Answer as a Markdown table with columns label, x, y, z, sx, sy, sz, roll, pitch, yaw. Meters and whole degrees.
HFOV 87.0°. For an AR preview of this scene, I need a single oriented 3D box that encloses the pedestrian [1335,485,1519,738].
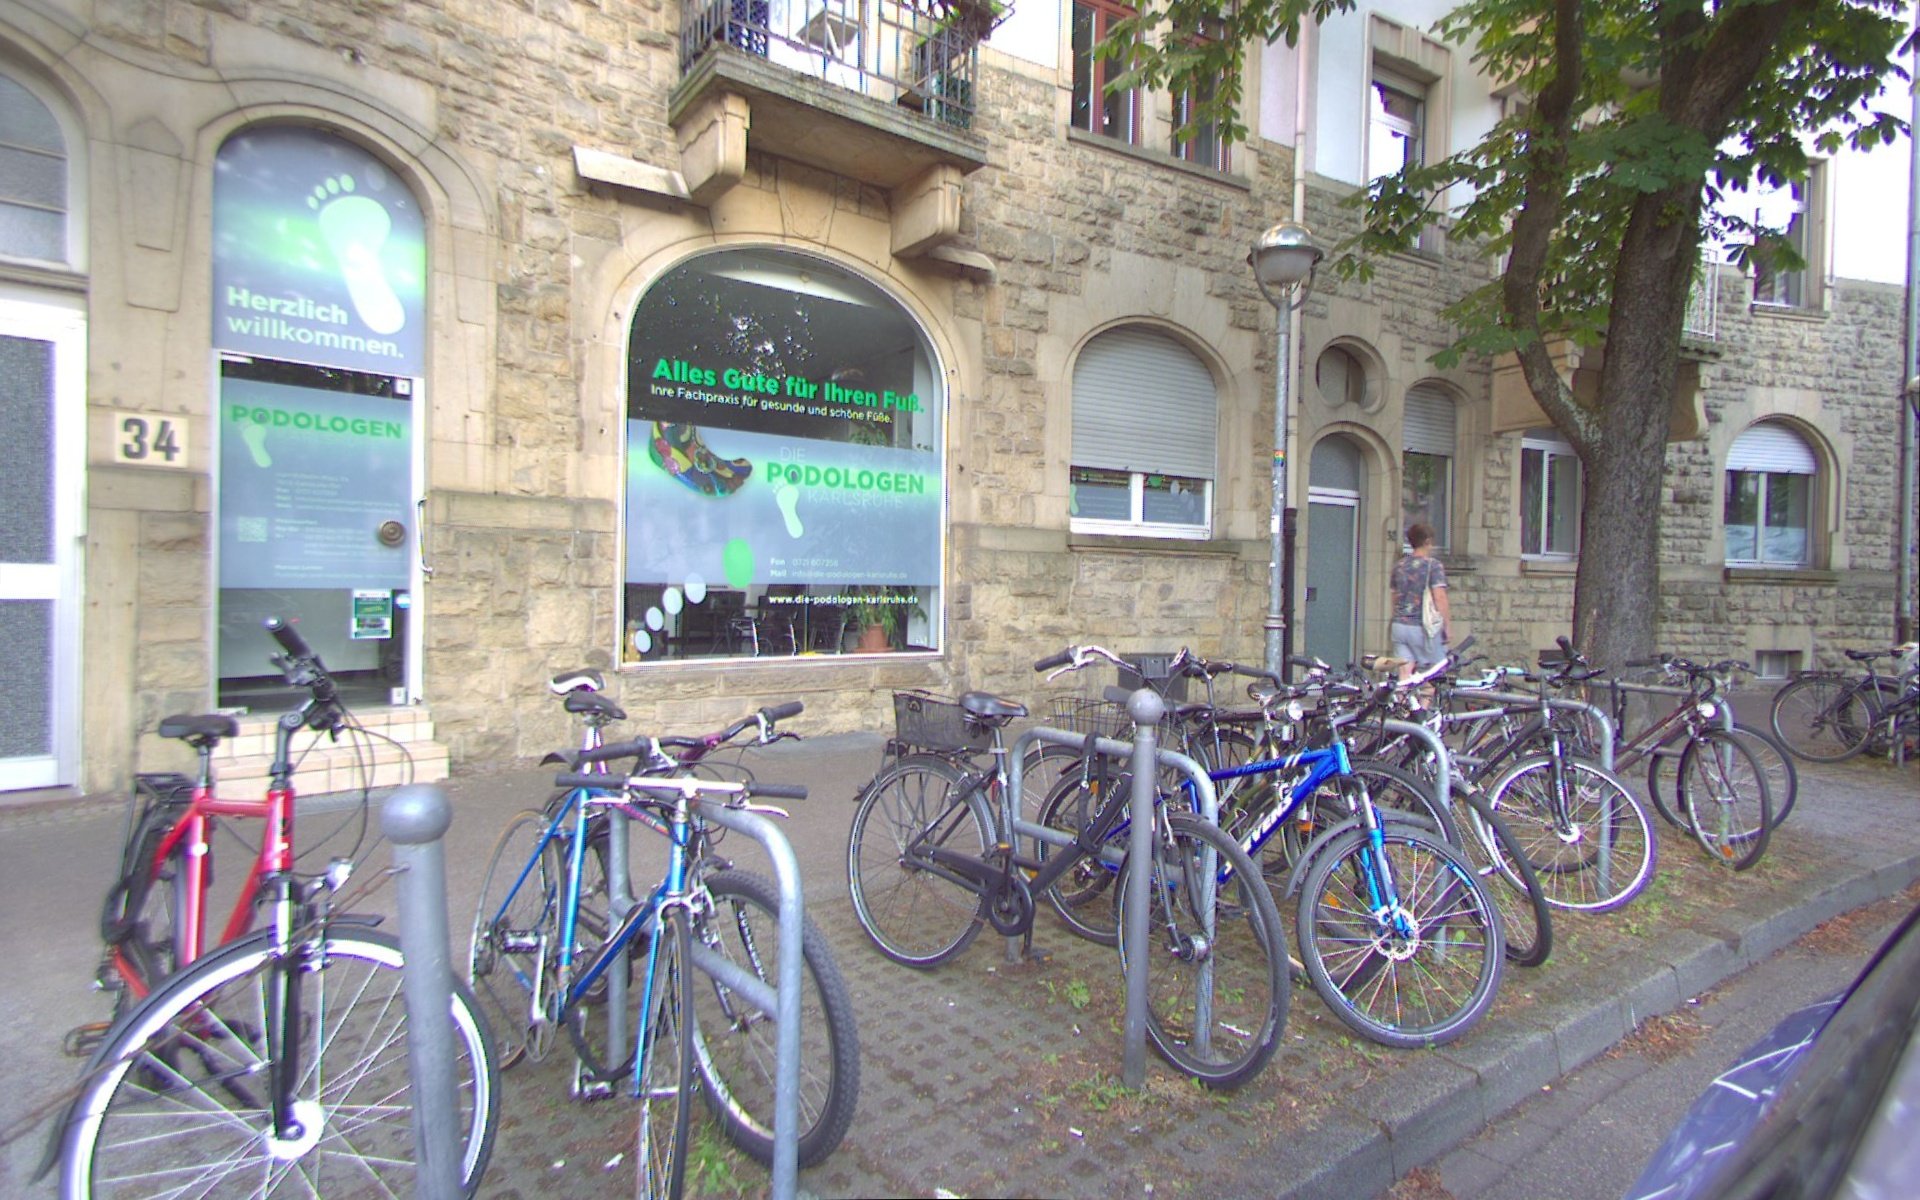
| label | x | y | z | sx | sy | sz | roll | pitch | yaw |
| --- | --- | --- | --- | --- | --- | --- | --- | --- | --- |
| pedestrian | 4.205 | 0.086 | 9.145 | 1.039 | 2.111 | 1.015 | 2 | 1 | -31 |

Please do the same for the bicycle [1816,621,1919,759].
| label | x | y | z | sx | sy | sz | roll | pitch | yaw |
| --- | --- | --- | --- | --- | --- | --- | --- | --- | --- |
| bicycle | 8.424 | 0.784 | 8.450 | 0.563 | 1.118 | 1.853 | 0 | 2 | -40 |

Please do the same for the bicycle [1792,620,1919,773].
| label | x | y | z | sx | sy | sz | roll | pitch | yaw |
| --- | --- | --- | --- | --- | --- | --- | --- | --- | --- |
| bicycle | 7.691 | 0.778 | 7.809 | 0.482 | 1.154 | 1.887 | 5 | -2 | -30 |

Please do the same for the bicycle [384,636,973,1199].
| label | x | y | z | sx | sy | sz | roll | pitch | yaw |
| --- | --- | --- | --- | --- | --- | --- | --- | --- | --- |
| bicycle | -0.847 | 0.686 | 2.600 | 0.688 | 1.051 | 1.803 | 0 | 2 | -43 |

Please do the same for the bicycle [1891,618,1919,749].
| label | x | y | z | sx | sy | sz | roll | pitch | yaw |
| --- | --- | --- | --- | --- | --- | --- | --- | --- | --- |
| bicycle | 8.976 | 0.782 | 8.396 | 0.410 | 1.159 | 1.860 | 1 | 2 | -17 |

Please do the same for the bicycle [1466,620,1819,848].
| label | x | y | z | sx | sy | sz | roll | pitch | yaw |
| --- | --- | --- | --- | --- | --- | --- | --- | --- | --- |
| bicycle | 4.007 | 0.714 | 6.087 | 0.477 | 1.091 | 1.676 | 1 | 2 | -34 |

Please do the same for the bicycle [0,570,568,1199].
| label | x | y | z | sx | sy | sz | roll | pitch | yaw |
| --- | --- | --- | --- | --- | --- | --- | --- | --- | --- |
| bicycle | -1.509 | 0.587 | 2.066 | 0.688 | 1.252 | 1.789 | 0 | 2 | -43 |

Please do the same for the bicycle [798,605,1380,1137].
| label | x | y | z | sx | sy | sz | roll | pitch | yaw |
| --- | --- | --- | --- | --- | --- | --- | --- | --- | --- |
| bicycle | 0.283 | 0.646 | 3.293 | 0.630 | 1.177 | 1.887 | 0 | 2 | -43 |

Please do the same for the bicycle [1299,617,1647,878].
| label | x | y | z | sx | sy | sz | roll | pitch | yaw |
| --- | --- | --- | --- | --- | --- | --- | --- | --- | --- |
| bicycle | 2.641 | 0.684 | 5.429 | 0.476 | 1.091 | 1.678 | 1 | 2 | -27 |

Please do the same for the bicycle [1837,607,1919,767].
| label | x | y | z | sx | sy | sz | roll | pitch | yaw |
| --- | --- | --- | --- | --- | --- | --- | --- | --- | --- |
| bicycle | 8.107 | 0.734 | 7.914 | 0.482 | 1.231 | 1.890 | -5 | 3 | -17 |

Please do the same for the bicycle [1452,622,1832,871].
| label | x | y | z | sx | sy | sz | roll | pitch | yaw |
| --- | --- | --- | --- | --- | --- | --- | --- | --- | --- |
| bicycle | 3.696 | 0.716 | 5.645 | 0.477 | 1.091 | 1.676 | 1 | 2 | -34 |

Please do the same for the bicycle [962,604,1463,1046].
| label | x | y | z | sx | sy | sz | roll | pitch | yaw |
| --- | --- | --- | --- | --- | --- | --- | --- | --- | --- |
| bicycle | 0.799 | 0.641 | 3.824 | 0.628 | 1.177 | 1.893 | 1 | 2 | -33 |

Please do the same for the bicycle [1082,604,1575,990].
| label | x | y | z | sx | sy | sz | roll | pitch | yaw |
| --- | --- | --- | --- | --- | --- | --- | --- | --- | --- |
| bicycle | 1.404 | 0.644 | 4.262 | 0.691 | 1.177 | 1.893 | 1 | 2 | -33 |

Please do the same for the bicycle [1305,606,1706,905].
| label | x | y | z | sx | sy | sz | roll | pitch | yaw |
| --- | --- | --- | --- | --- | --- | --- | --- | --- | --- |
| bicycle | 2.551 | 0.663 | 4.966 | 0.476 | 1.142 | 1.678 | 8 | -1 | -26 |
